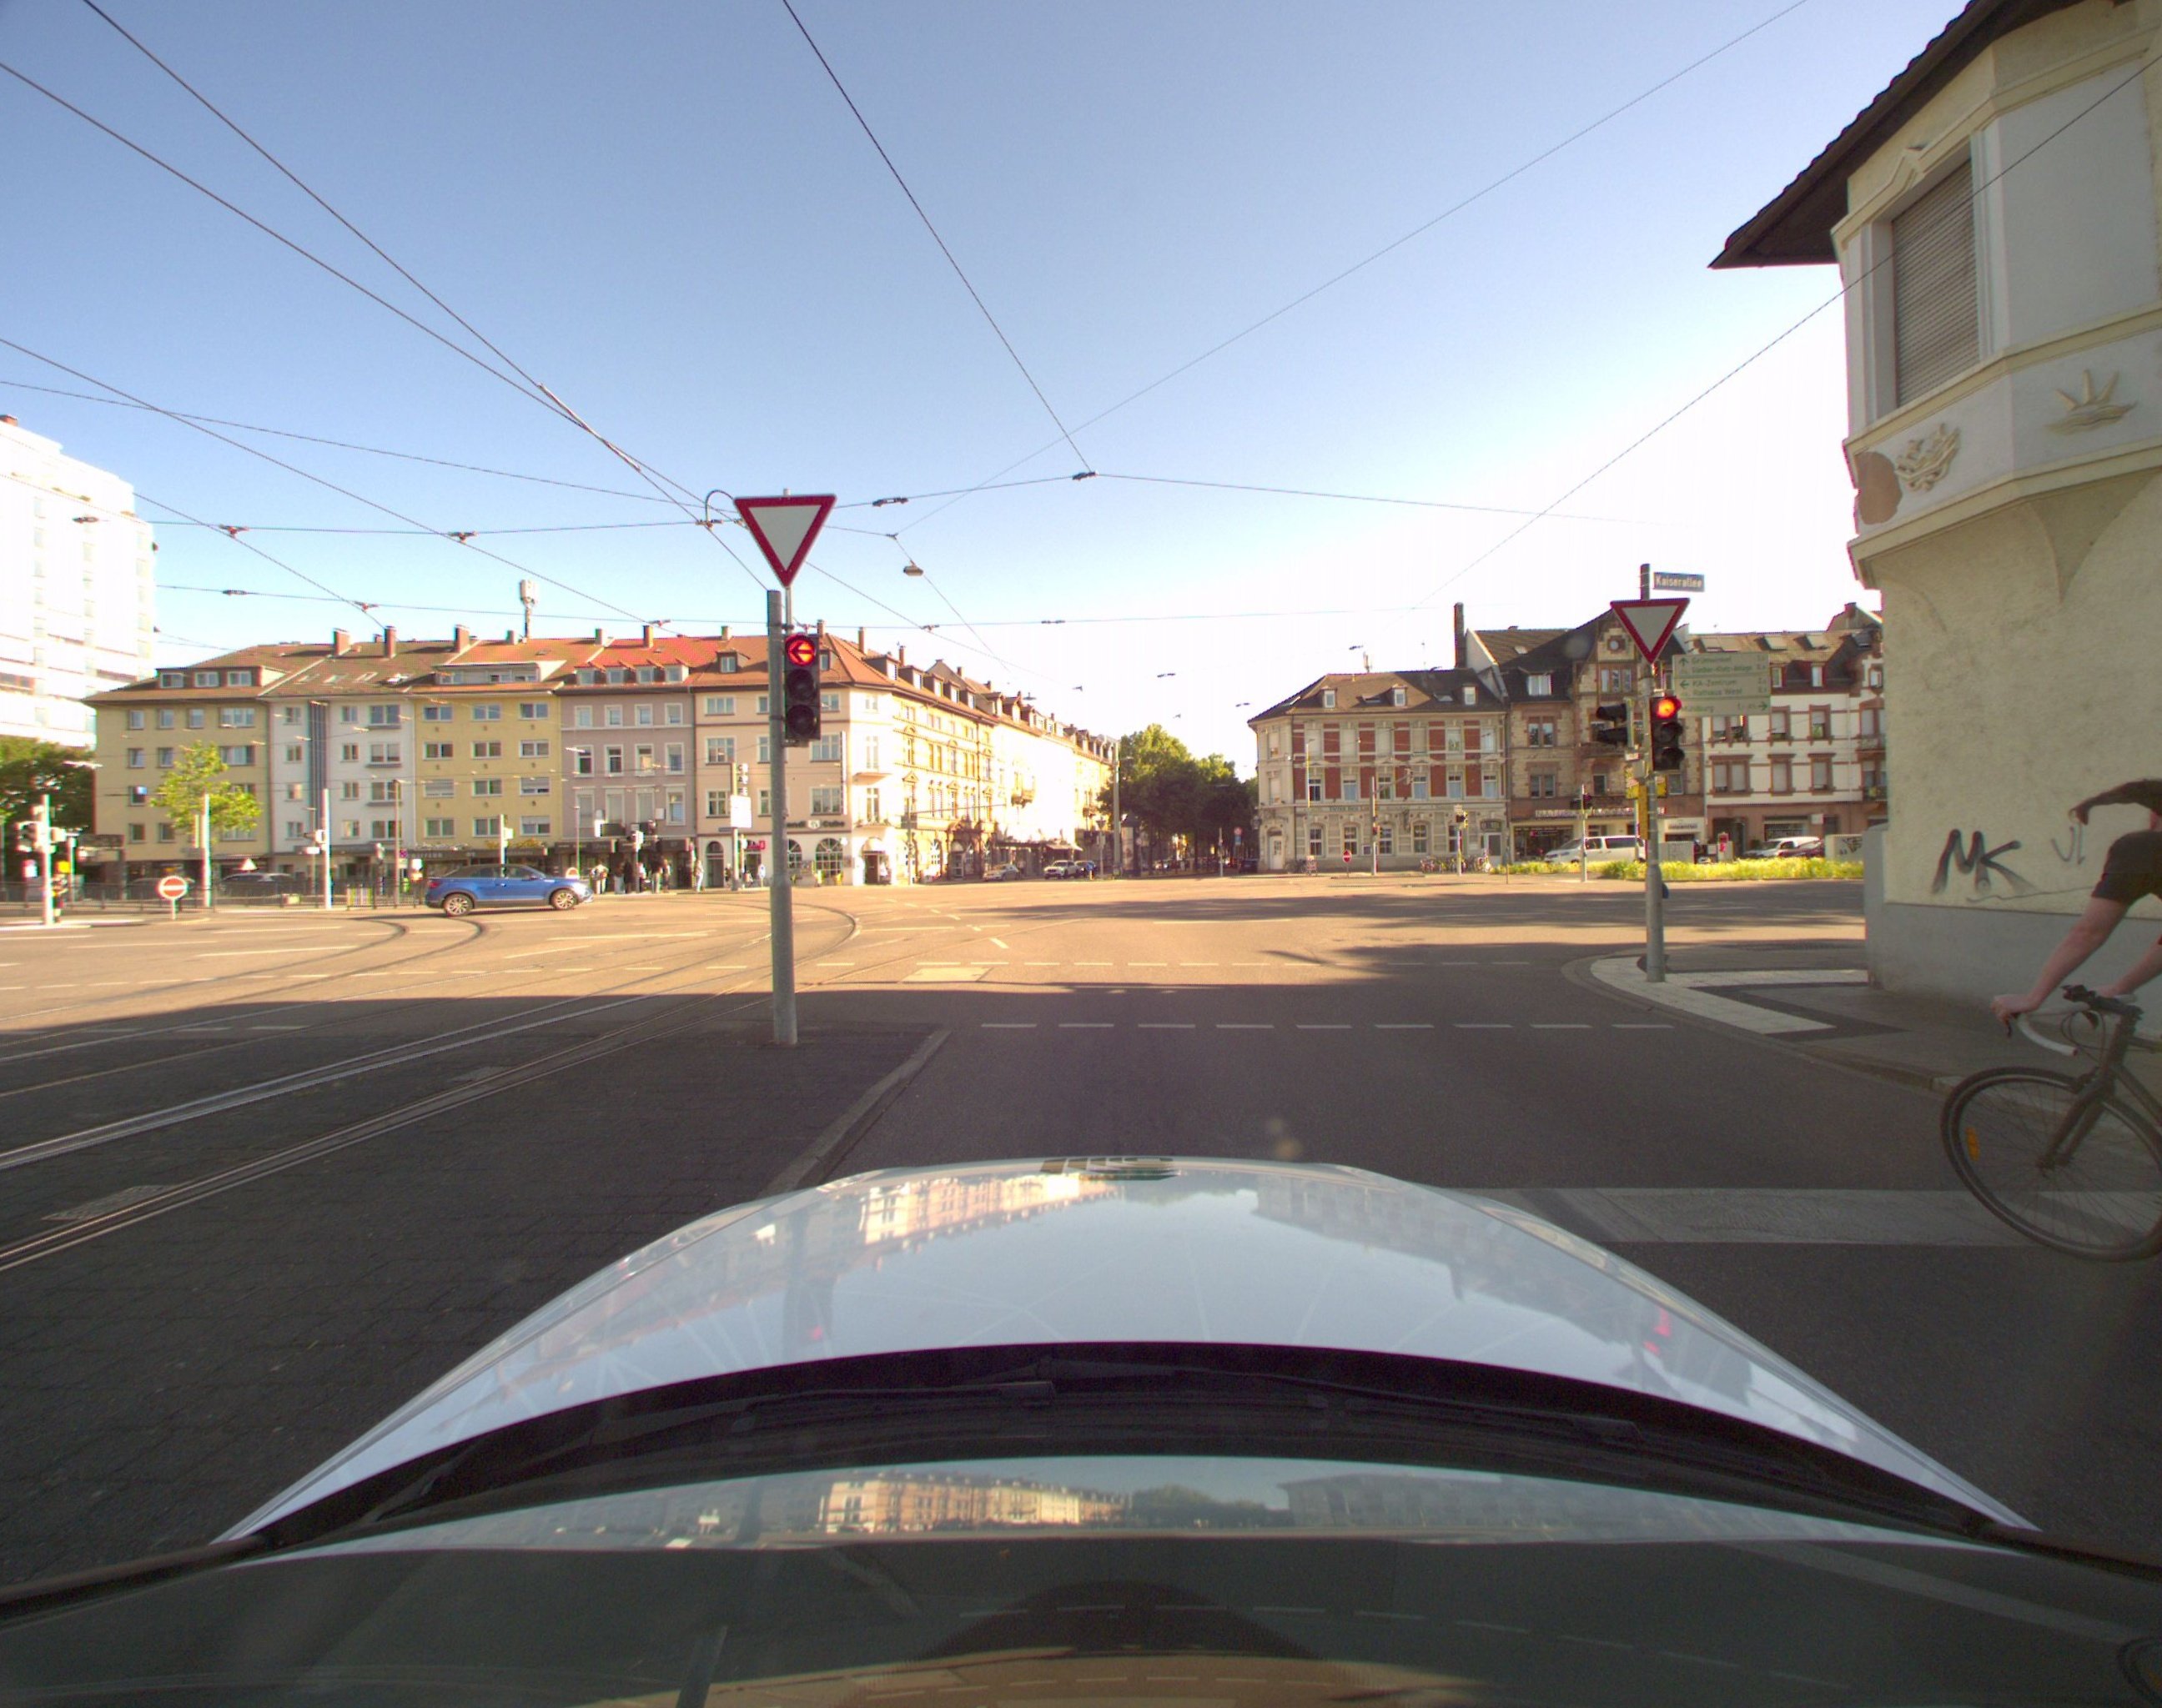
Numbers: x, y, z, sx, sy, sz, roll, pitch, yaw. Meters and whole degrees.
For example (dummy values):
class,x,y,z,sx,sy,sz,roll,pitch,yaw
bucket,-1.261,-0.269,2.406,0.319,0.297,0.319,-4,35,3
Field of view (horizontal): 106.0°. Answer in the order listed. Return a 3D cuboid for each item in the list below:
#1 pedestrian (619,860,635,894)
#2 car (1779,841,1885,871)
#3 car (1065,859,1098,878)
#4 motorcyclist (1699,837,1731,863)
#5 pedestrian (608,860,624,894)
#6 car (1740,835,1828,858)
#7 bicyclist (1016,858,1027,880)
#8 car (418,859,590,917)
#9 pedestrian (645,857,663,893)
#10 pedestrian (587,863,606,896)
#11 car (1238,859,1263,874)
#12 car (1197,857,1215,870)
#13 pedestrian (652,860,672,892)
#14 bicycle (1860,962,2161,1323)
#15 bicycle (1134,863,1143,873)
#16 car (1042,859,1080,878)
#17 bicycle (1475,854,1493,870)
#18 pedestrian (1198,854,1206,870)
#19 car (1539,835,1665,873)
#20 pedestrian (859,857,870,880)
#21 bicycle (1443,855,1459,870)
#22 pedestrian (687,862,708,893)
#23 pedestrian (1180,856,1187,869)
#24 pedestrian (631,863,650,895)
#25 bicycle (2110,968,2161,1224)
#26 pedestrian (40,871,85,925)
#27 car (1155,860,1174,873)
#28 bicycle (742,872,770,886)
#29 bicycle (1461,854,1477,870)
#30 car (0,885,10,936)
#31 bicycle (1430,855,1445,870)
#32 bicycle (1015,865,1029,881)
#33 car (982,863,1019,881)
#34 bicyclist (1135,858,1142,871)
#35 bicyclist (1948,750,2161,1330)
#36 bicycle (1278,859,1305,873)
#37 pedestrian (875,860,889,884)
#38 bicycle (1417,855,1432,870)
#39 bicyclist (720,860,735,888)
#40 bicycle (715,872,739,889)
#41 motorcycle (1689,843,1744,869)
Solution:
class,x,y,z,sx,sy,sz,roll,pitch,yaw
pedestrian,-22.569,1.138,40.492,0.520,1.648,0.498,0,-1,1
car,37.960,0.083,41.246,3.854,1.426,1.596,-1,0,2
car,0.073,1.286,73.779,1.809,1.685,3.893,-1,-1,18
motorcyclist,32.298,-0.217,41.523,1.009,1.300,0.790,0,-1,6
pedestrian,-23.181,1.143,40.622,0.520,1.648,0.498,0,-1,1
car,45.190,-0.448,52.439,3.961,1.438,1.874,0,-1,5
bicyclist,-4.754,1.207,65.437,0.561,1.804,0.918,-1,-1,17
car,-17.736,0.982,25.235,4.217,1.575,1.811,-1,0,-35
pedestrian,-21.541,1.051,41.060,0.525,1.823,0.677,0,-1,1
pedestrian,-25.070,1.319,42.136,0.582,1.648,0.616,0,-1,1
car,17.128,1.249,82.242,1.741,1.556,4.021,-1,-1,22
car,17.883,1.344,116.375,1.978,1.684,4.018,-1,-1,17
pedestrian,-21.563,1.111,41.945,0.580,1.648,0.840,0,-1,1
bicycle,3.590,0.959,2.629,0.480,0.991,1.783,0,-1,2
bicycle,7.342,1.734,103.501,0.668,1.207,1.831,-1,-1,20
car,-1.619,1.175,67.463,1.788,1.585,4.179,-1,-1,19
bicycle,26.085,0.528,52.770,0.785,1.016,2.221,-1,-1,20
pedestrian,15.116,1.036,101.927,0.957,2.014,0.919,0,-1,3
car,26.686,0.003,41.859,5.181,1.854,2.000,-1,0,0
pedestrian,-15.786,1.066,59.467,0.592,1.676,0.492,0,-1,-44
bicycle,24.050,0.558,52.973,0.758,0.983,2.221,-1,-1,20
pedestrian,-19.792,1.189,42.077,0.666,1.594,0.815,0,-1,1
pedestrian,15.656,1.243,124.201,0.936,2.014,0.830,-1,-1,16
pedestrian,-22.903,1.310,42.306,0.571,1.648,0.727,0,-1,1
bicycle,4.461,0.953,2.450,0.501,0.983,1.783,0,-1,2
pedestrian,-31.548,1.347,25.225,0.605,1.609,0.770,-1,-1,29
car,10.929,1.643,106.479,1.788,1.575,3.908,-1,-1,17
bicycle,-22.985,1.753,57.607,1.694,0.983,0.611,0,-1,1
bicycle,25.193,0.537,52.883,0.758,1.007,2.231,-1,-1,20
car,-31.640,1.594,21.582,3.975,1.403,1.831,-1,0,-1
bicycle,23.263,0.565,53.096,0.758,0.968,2.221,-1,-1,20
bicycle,-4.725,1.485,65.493,0.561,1.254,1.564,-1,-1,17
car,-6.615,1.472,67.325,1.647,1.374,3.909,-1,-1,17
bicyclist,7.339,1.333,103.509,0.668,1.568,0.751,-1,-1,20
bicyclist,3.586,0.567,2.616,0.587,1.767,0.936,0,-1,2
bicycle,14.711,0.824,56.924,1.789,0.963,0.606,-1,-1,16
pedestrian,-13.909,1.279,57.024,0.562,1.642,0.797,-1,-1,25
bicycle,22.508,0.572,53.363,0.758,0.963,2.221,-1,-1,20
bicyclist,-23.000,1.320,52.990,0.618,1.790,0.616,0,-1,7
bicycle,-22.998,1.724,52.964,0.618,1.030,1.758,0,-1,7
motorcycle,32.378,0.104,41.509,2.124,1.333,0.798,0,-1,6
